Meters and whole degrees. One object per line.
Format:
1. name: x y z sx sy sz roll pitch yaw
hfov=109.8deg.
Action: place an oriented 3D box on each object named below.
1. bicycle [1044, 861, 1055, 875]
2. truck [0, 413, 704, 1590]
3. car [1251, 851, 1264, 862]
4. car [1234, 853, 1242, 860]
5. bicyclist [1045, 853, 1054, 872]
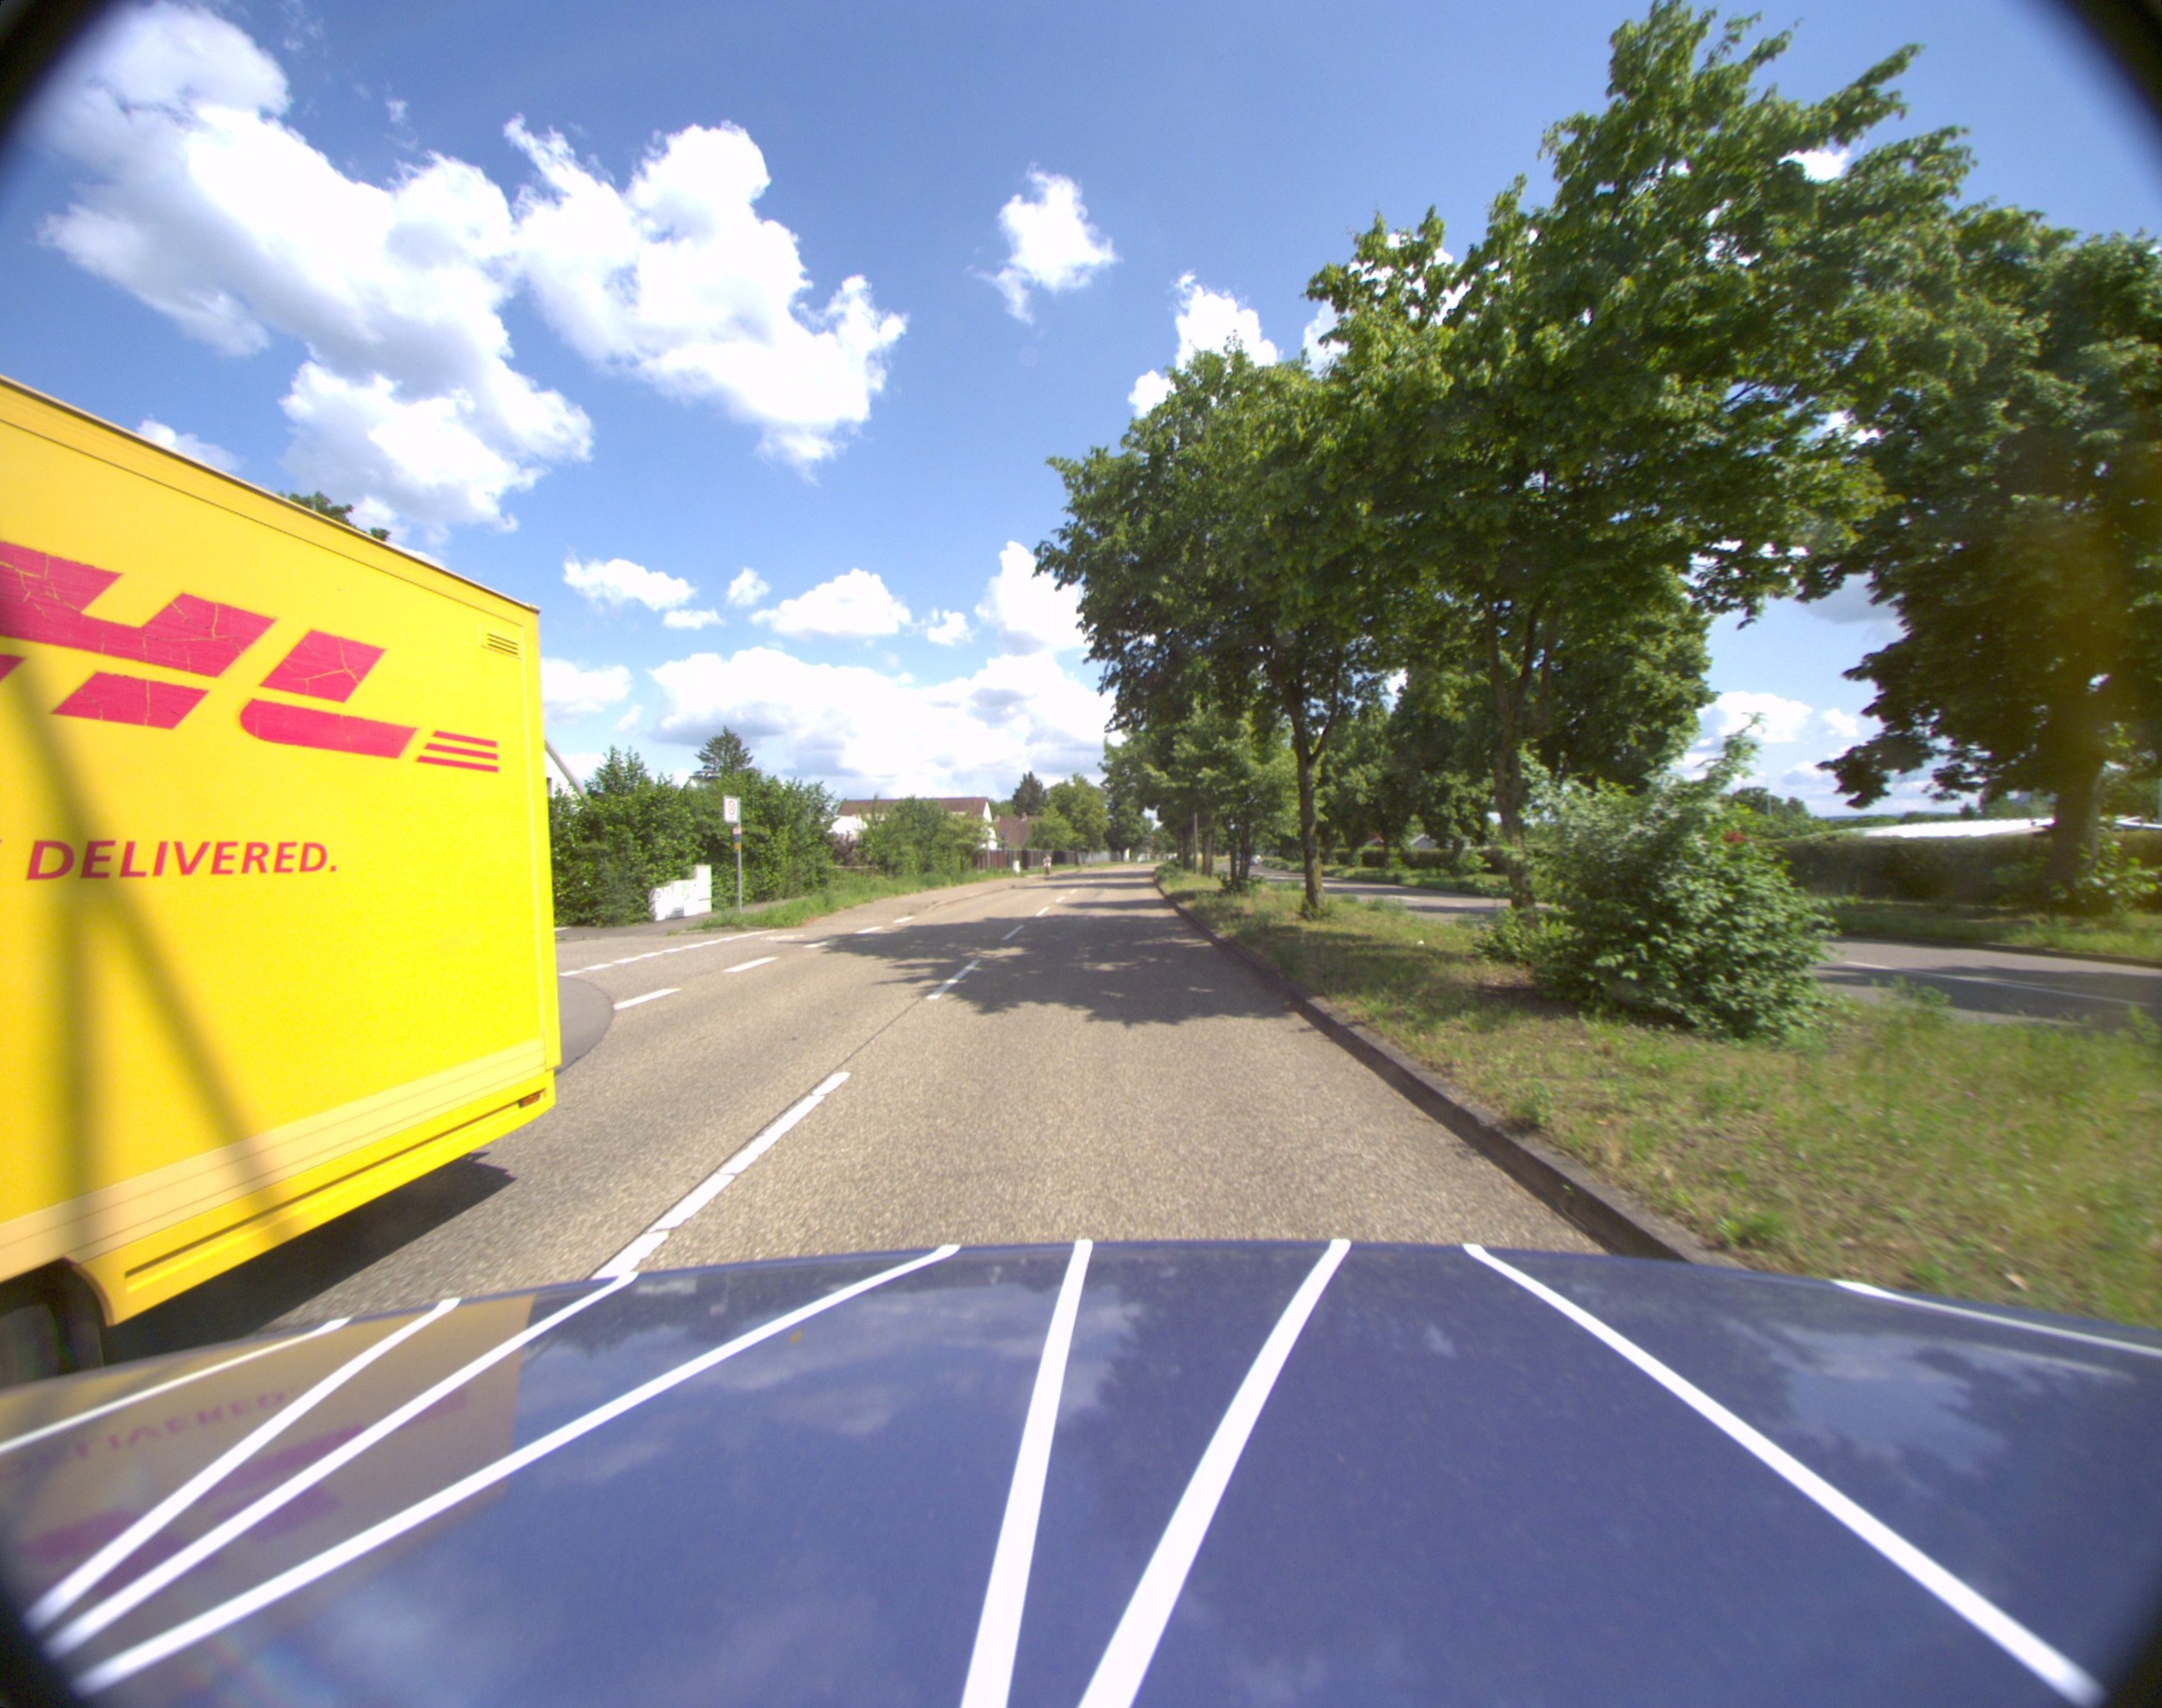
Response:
1. bicycle: -2.644 1.161 63.752 0.626 1.145 1.739 -1 0 5
2. truck: -3.781 0.376 1.124 2.270 2.863 8.027 -2 0 0
3. car: 25.813 0.331 111.373 1.739 1.577 4.116 1 0 11
4. car: 36.585 0.614 176.877 1.739 1.577 4.117 1 0 14
5. bicyclist: -2.646 0.727 63.822 0.620 1.625 0.700 -1 1 5
